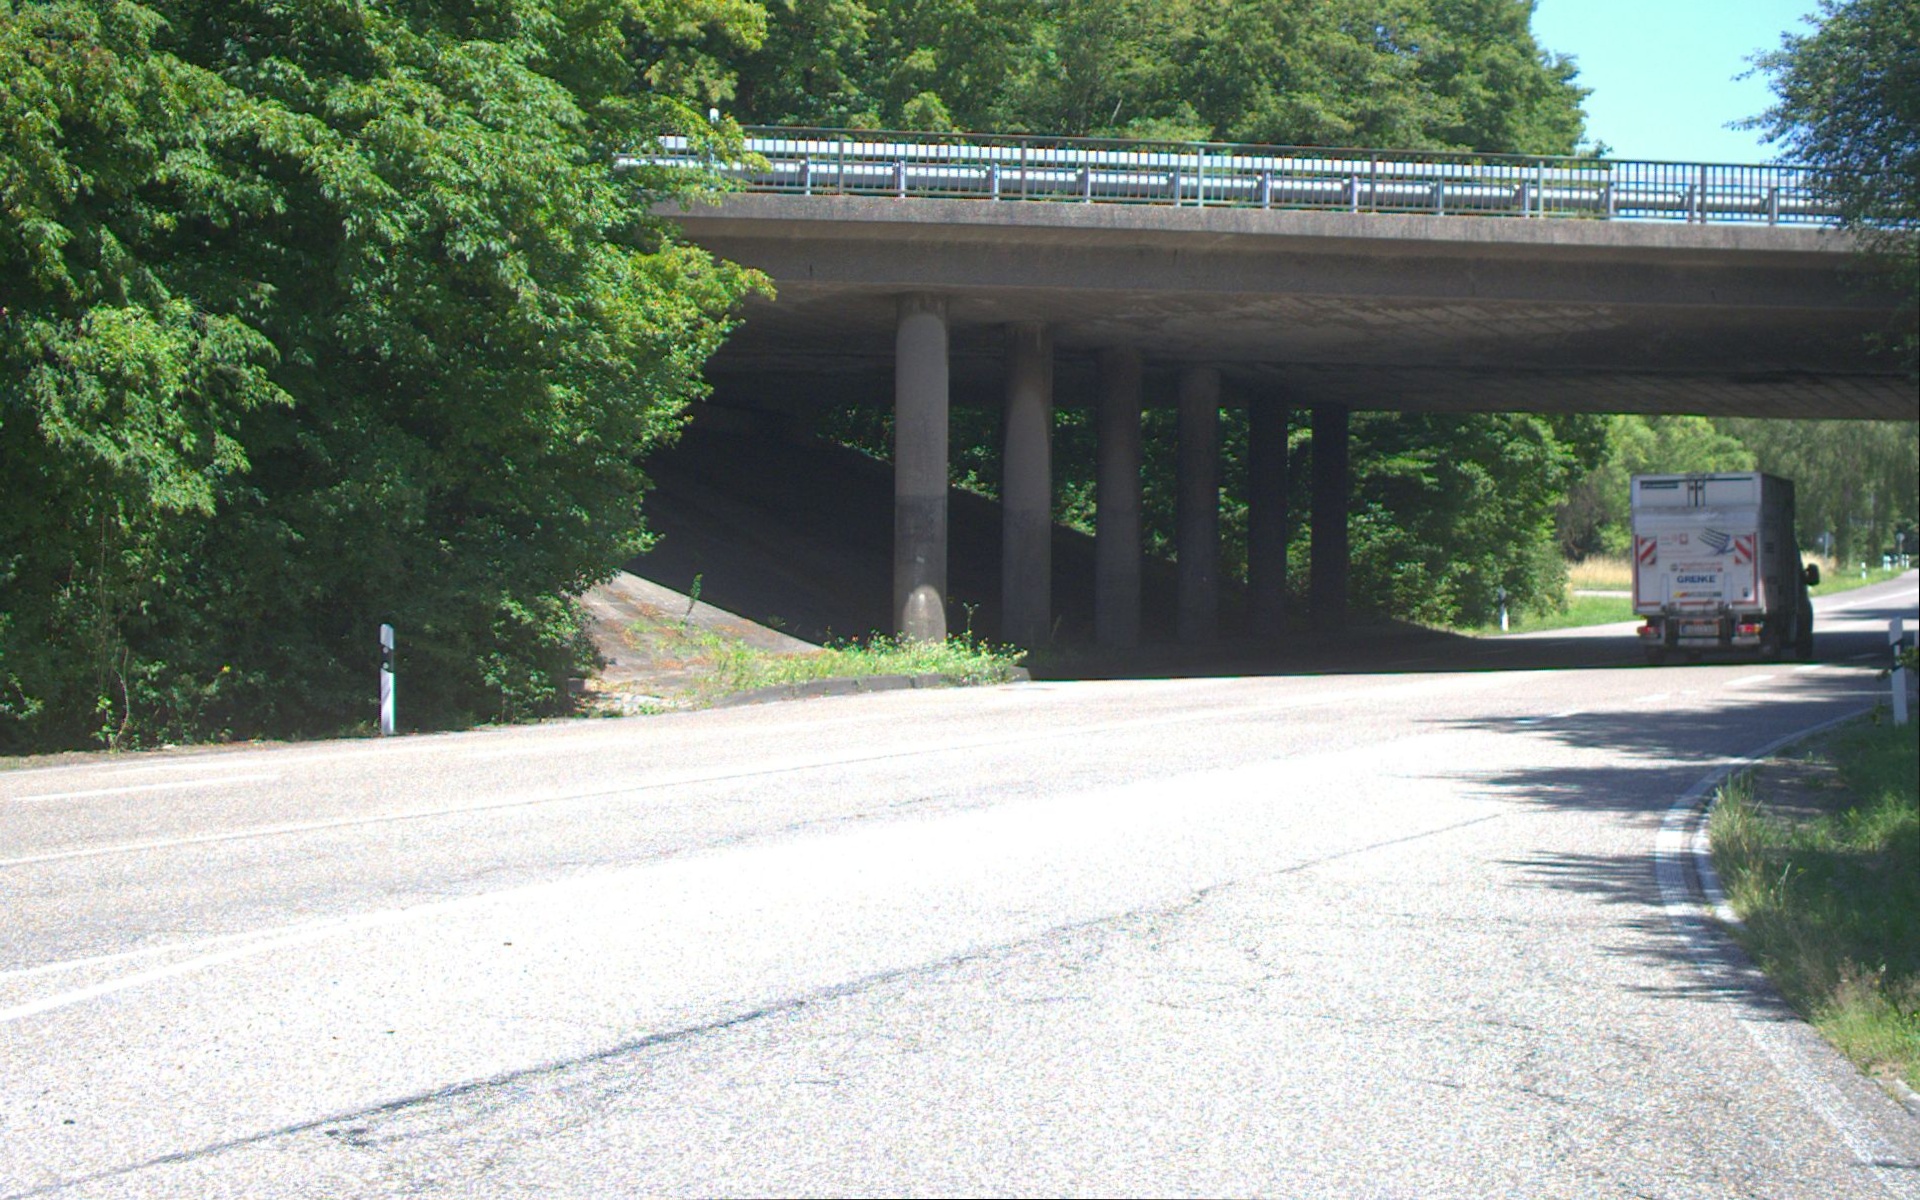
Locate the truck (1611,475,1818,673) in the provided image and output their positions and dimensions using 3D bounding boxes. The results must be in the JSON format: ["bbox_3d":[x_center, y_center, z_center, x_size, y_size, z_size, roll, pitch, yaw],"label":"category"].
[{"bbox_3d":[12.099,-0.408,54.838,2.243,2.974,5.887,0,0,22],"label":"truck"}]
